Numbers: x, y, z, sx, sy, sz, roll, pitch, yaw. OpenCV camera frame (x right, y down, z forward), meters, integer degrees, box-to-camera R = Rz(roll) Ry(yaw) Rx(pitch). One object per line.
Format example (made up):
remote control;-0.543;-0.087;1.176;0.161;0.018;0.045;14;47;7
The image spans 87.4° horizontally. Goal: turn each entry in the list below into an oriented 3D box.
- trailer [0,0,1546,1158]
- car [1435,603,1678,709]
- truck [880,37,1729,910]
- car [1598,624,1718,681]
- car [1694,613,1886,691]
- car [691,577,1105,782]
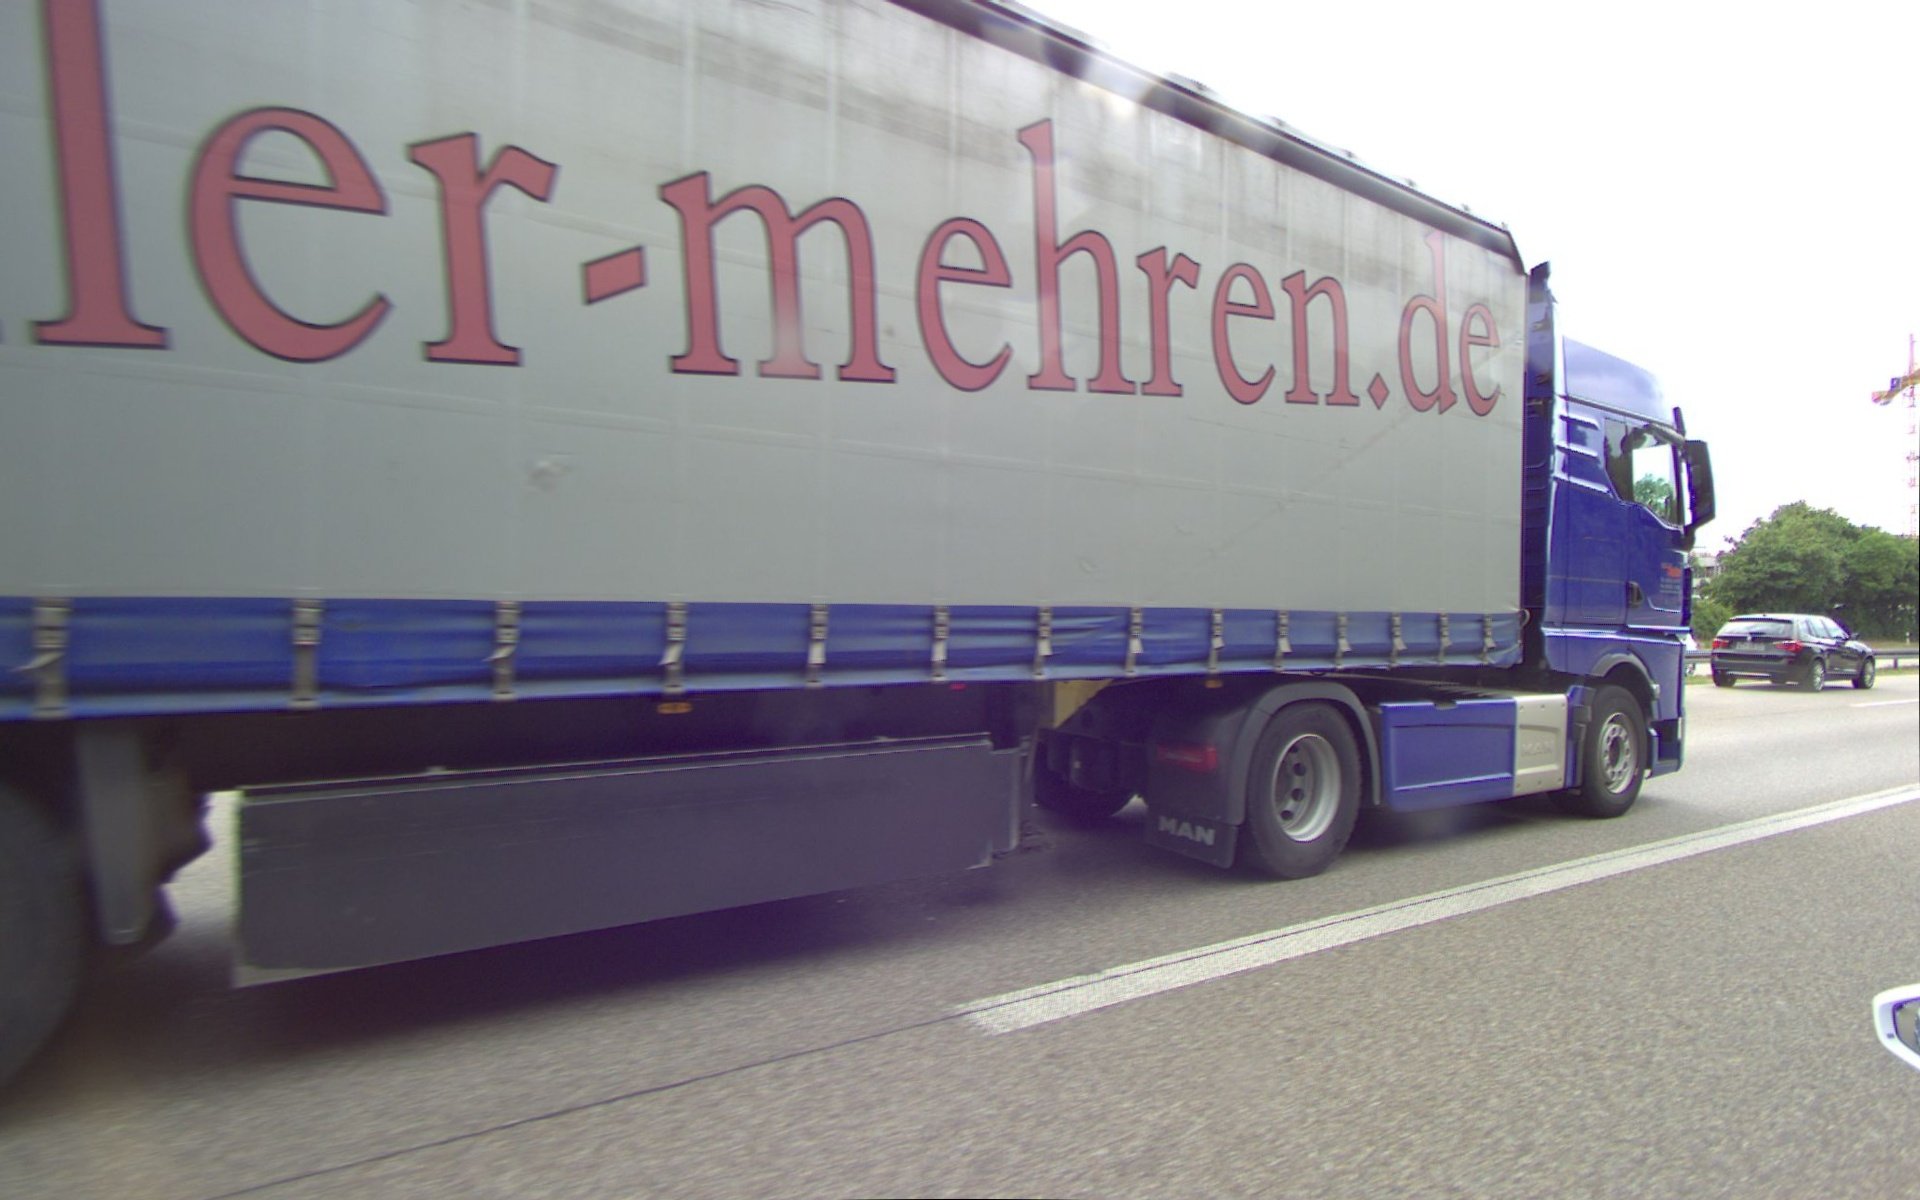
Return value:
trailer;-2.466;-0.626;4.022;13.320;4.076;2.611;2;0;-33
car;10.633;0.936;17.808;4.630;1.677;1.737;1;-1;-31
truck;2.900;-0.515;7.577;6.519;4.096;2.546;2;0;-33
car;22.357;1.653;32.147;4.162;1.711;1.593;1;-1;-30
car;19.039;1.145;22.998;4.594;1.635;1.852;1;-1;-29
car;-0.546;0.717;10.259;3.957;1.728;1.603;1;-1;-33
